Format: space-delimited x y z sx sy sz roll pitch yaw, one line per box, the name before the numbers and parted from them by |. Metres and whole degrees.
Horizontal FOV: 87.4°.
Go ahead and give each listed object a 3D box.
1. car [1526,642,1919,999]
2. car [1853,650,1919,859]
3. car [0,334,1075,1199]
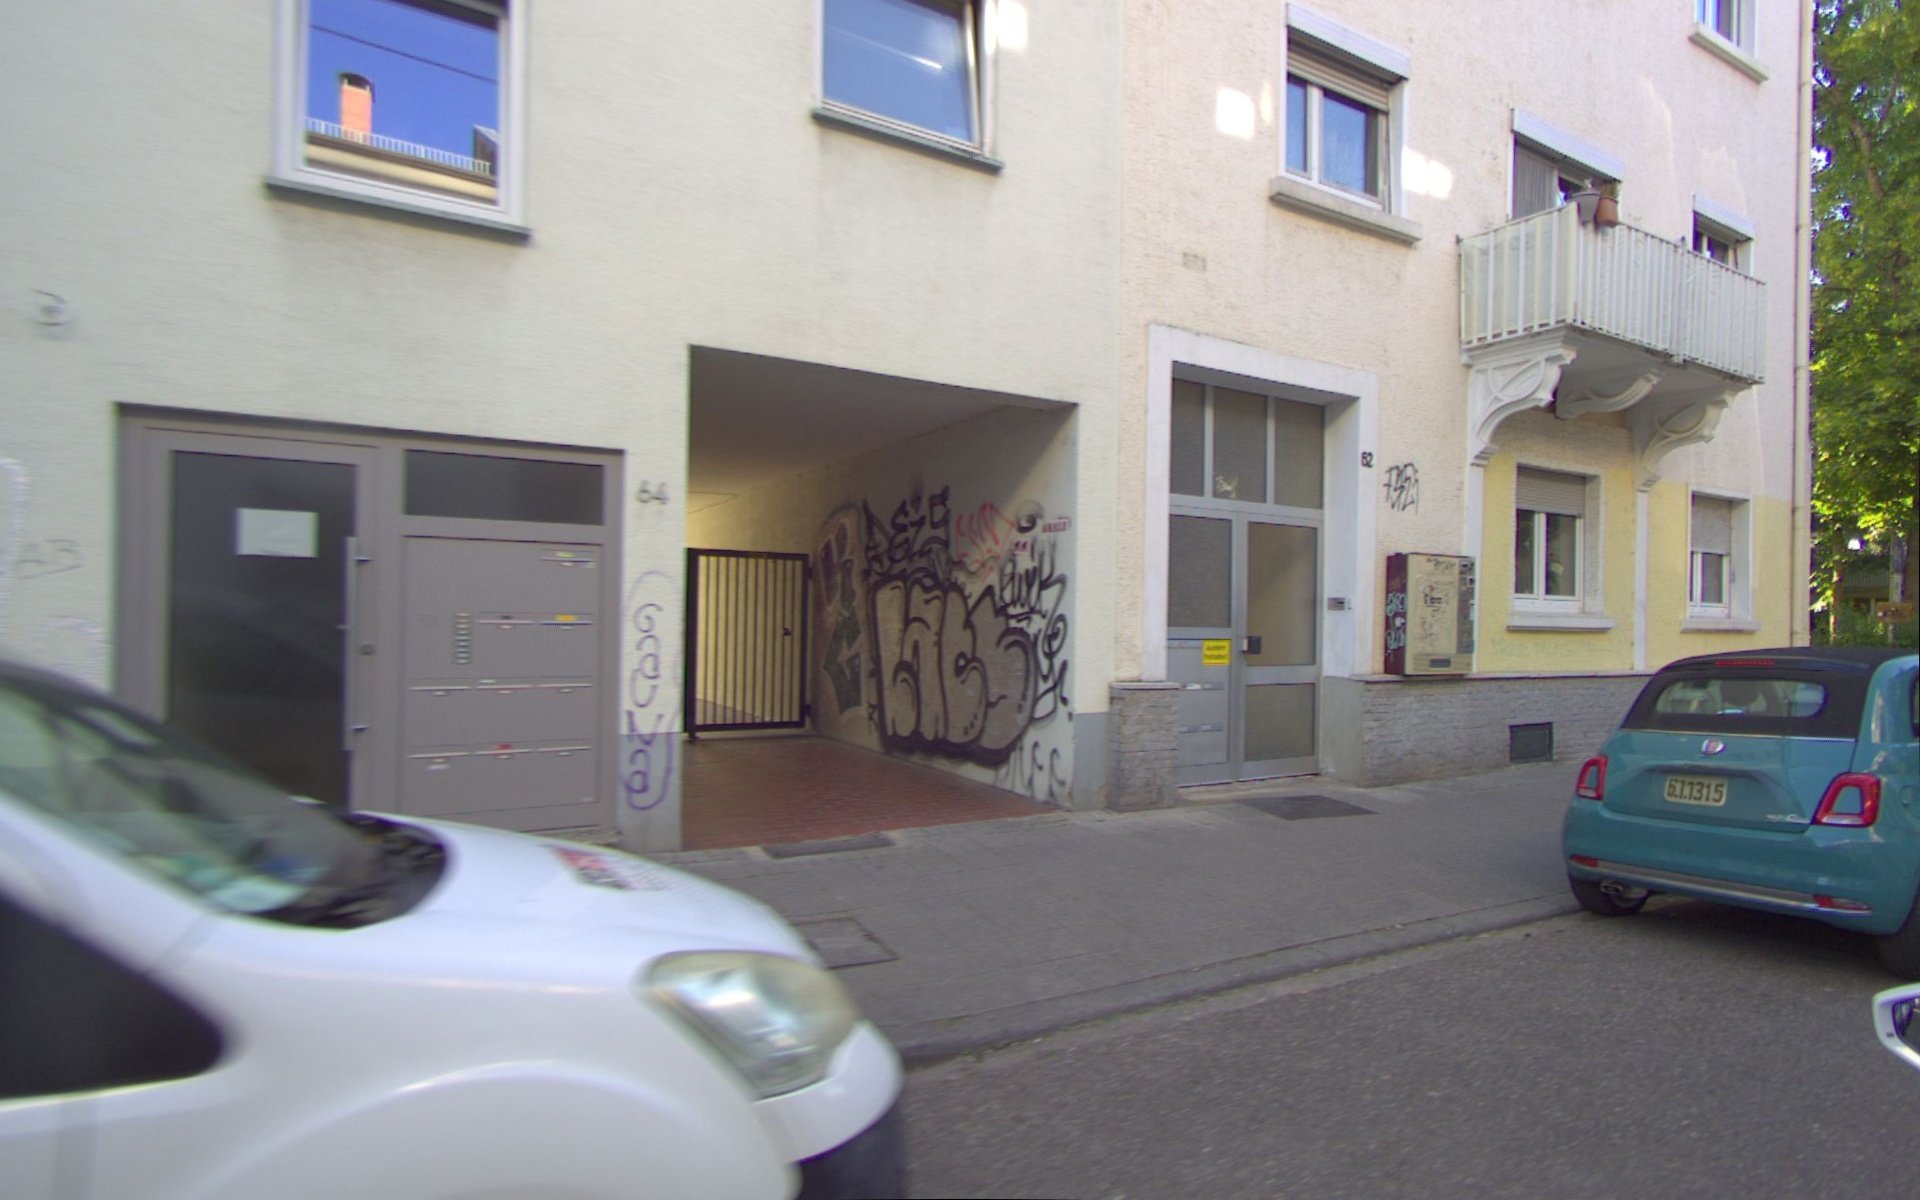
car | 5.067 1.005 5.684 3.441 1.469 1.588 2 -4 -27
car | 8.879 1.117 7.708 4.342 1.462 1.771 2 -4 -31
car | -2.052 0.625 1.416 4.267 1.763 1.741 2 -4 -32
